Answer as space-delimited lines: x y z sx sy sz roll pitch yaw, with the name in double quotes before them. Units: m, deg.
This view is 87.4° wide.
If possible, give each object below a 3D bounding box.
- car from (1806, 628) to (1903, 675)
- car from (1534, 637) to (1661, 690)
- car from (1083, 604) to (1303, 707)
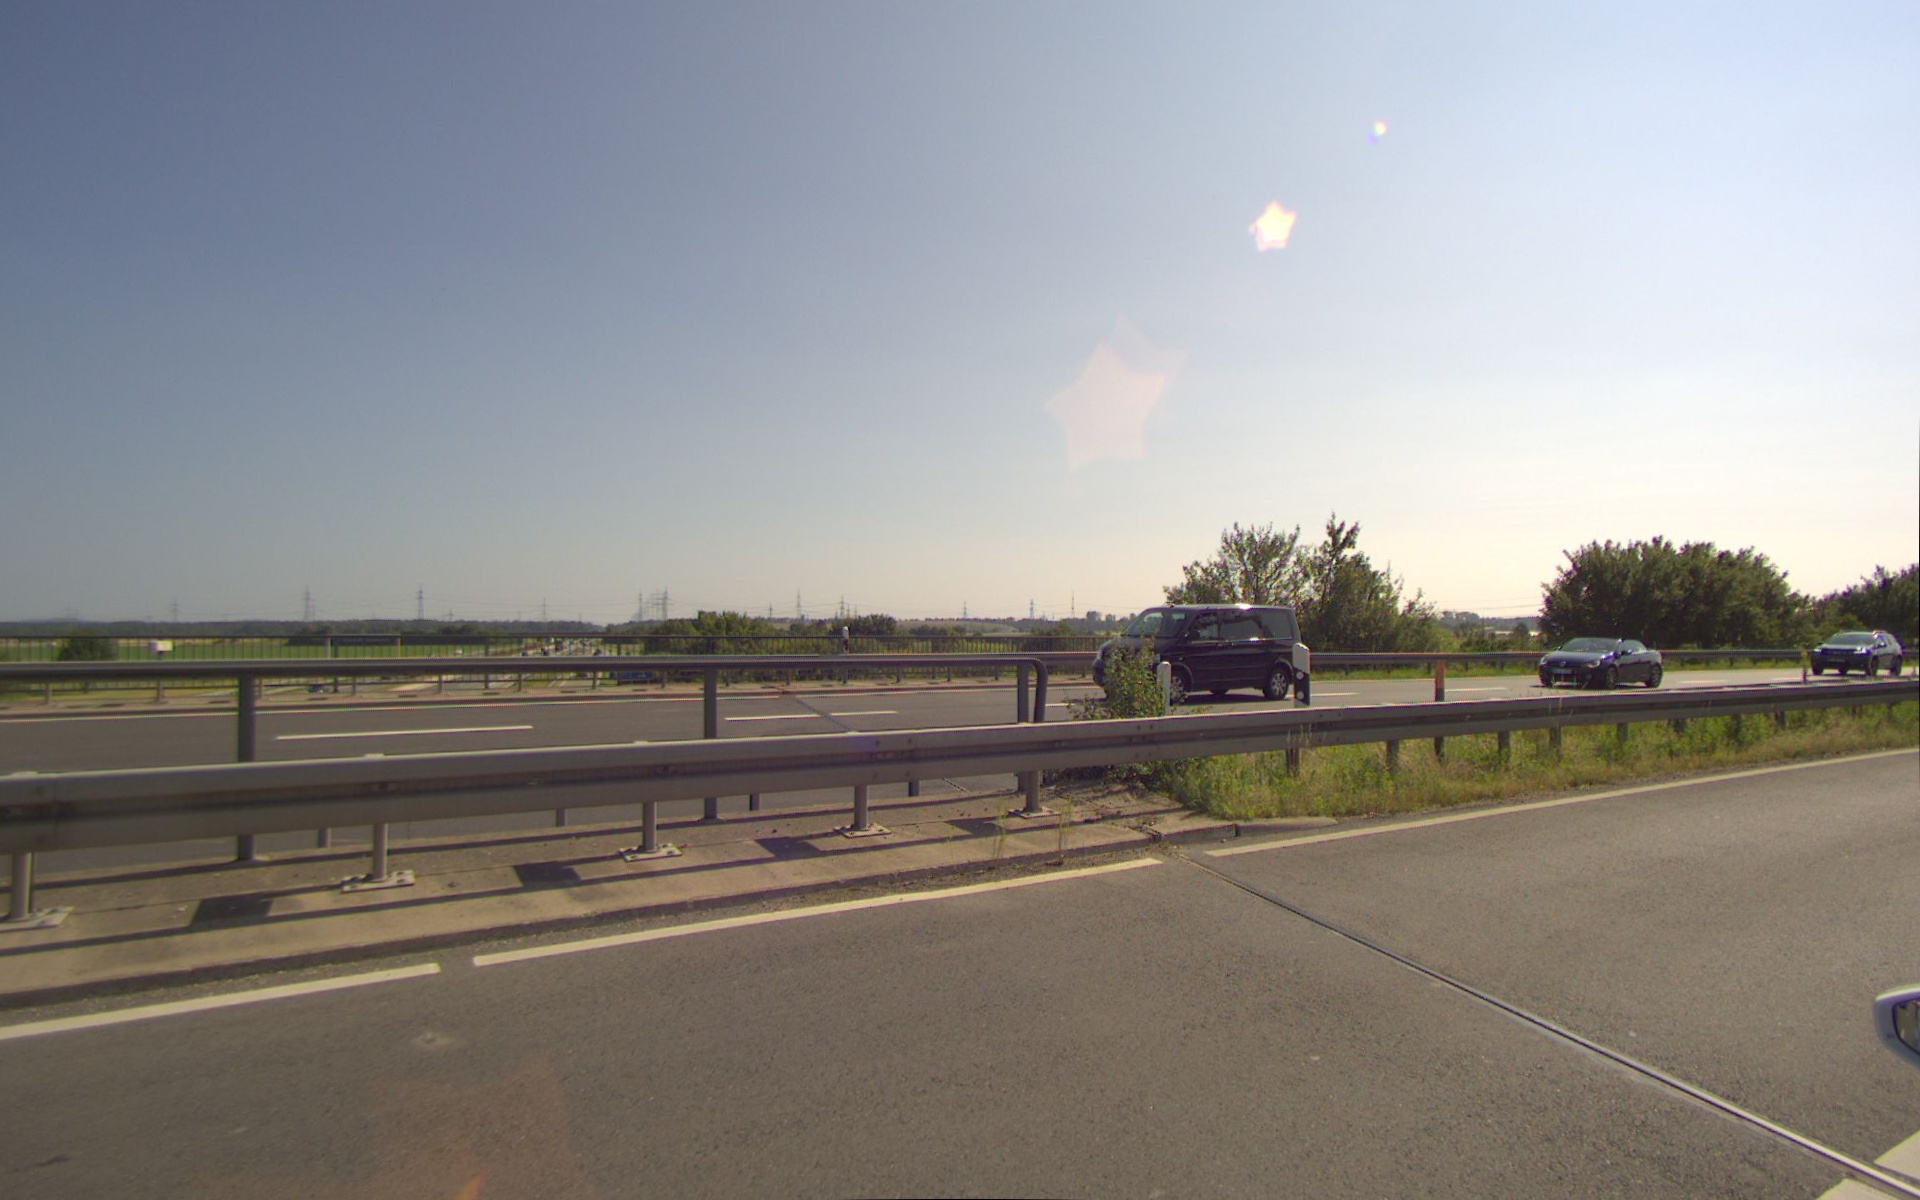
"car" 33.803 1.899 37.948 3.958 1.639 1.723 1 0 -32
"car" 17.667 1.714 27.791 3.674 1.287 1.557 1 -1 -32
"car" 4.895 1.099 20.948 4.368 1.931 1.983 1 -1 -32
